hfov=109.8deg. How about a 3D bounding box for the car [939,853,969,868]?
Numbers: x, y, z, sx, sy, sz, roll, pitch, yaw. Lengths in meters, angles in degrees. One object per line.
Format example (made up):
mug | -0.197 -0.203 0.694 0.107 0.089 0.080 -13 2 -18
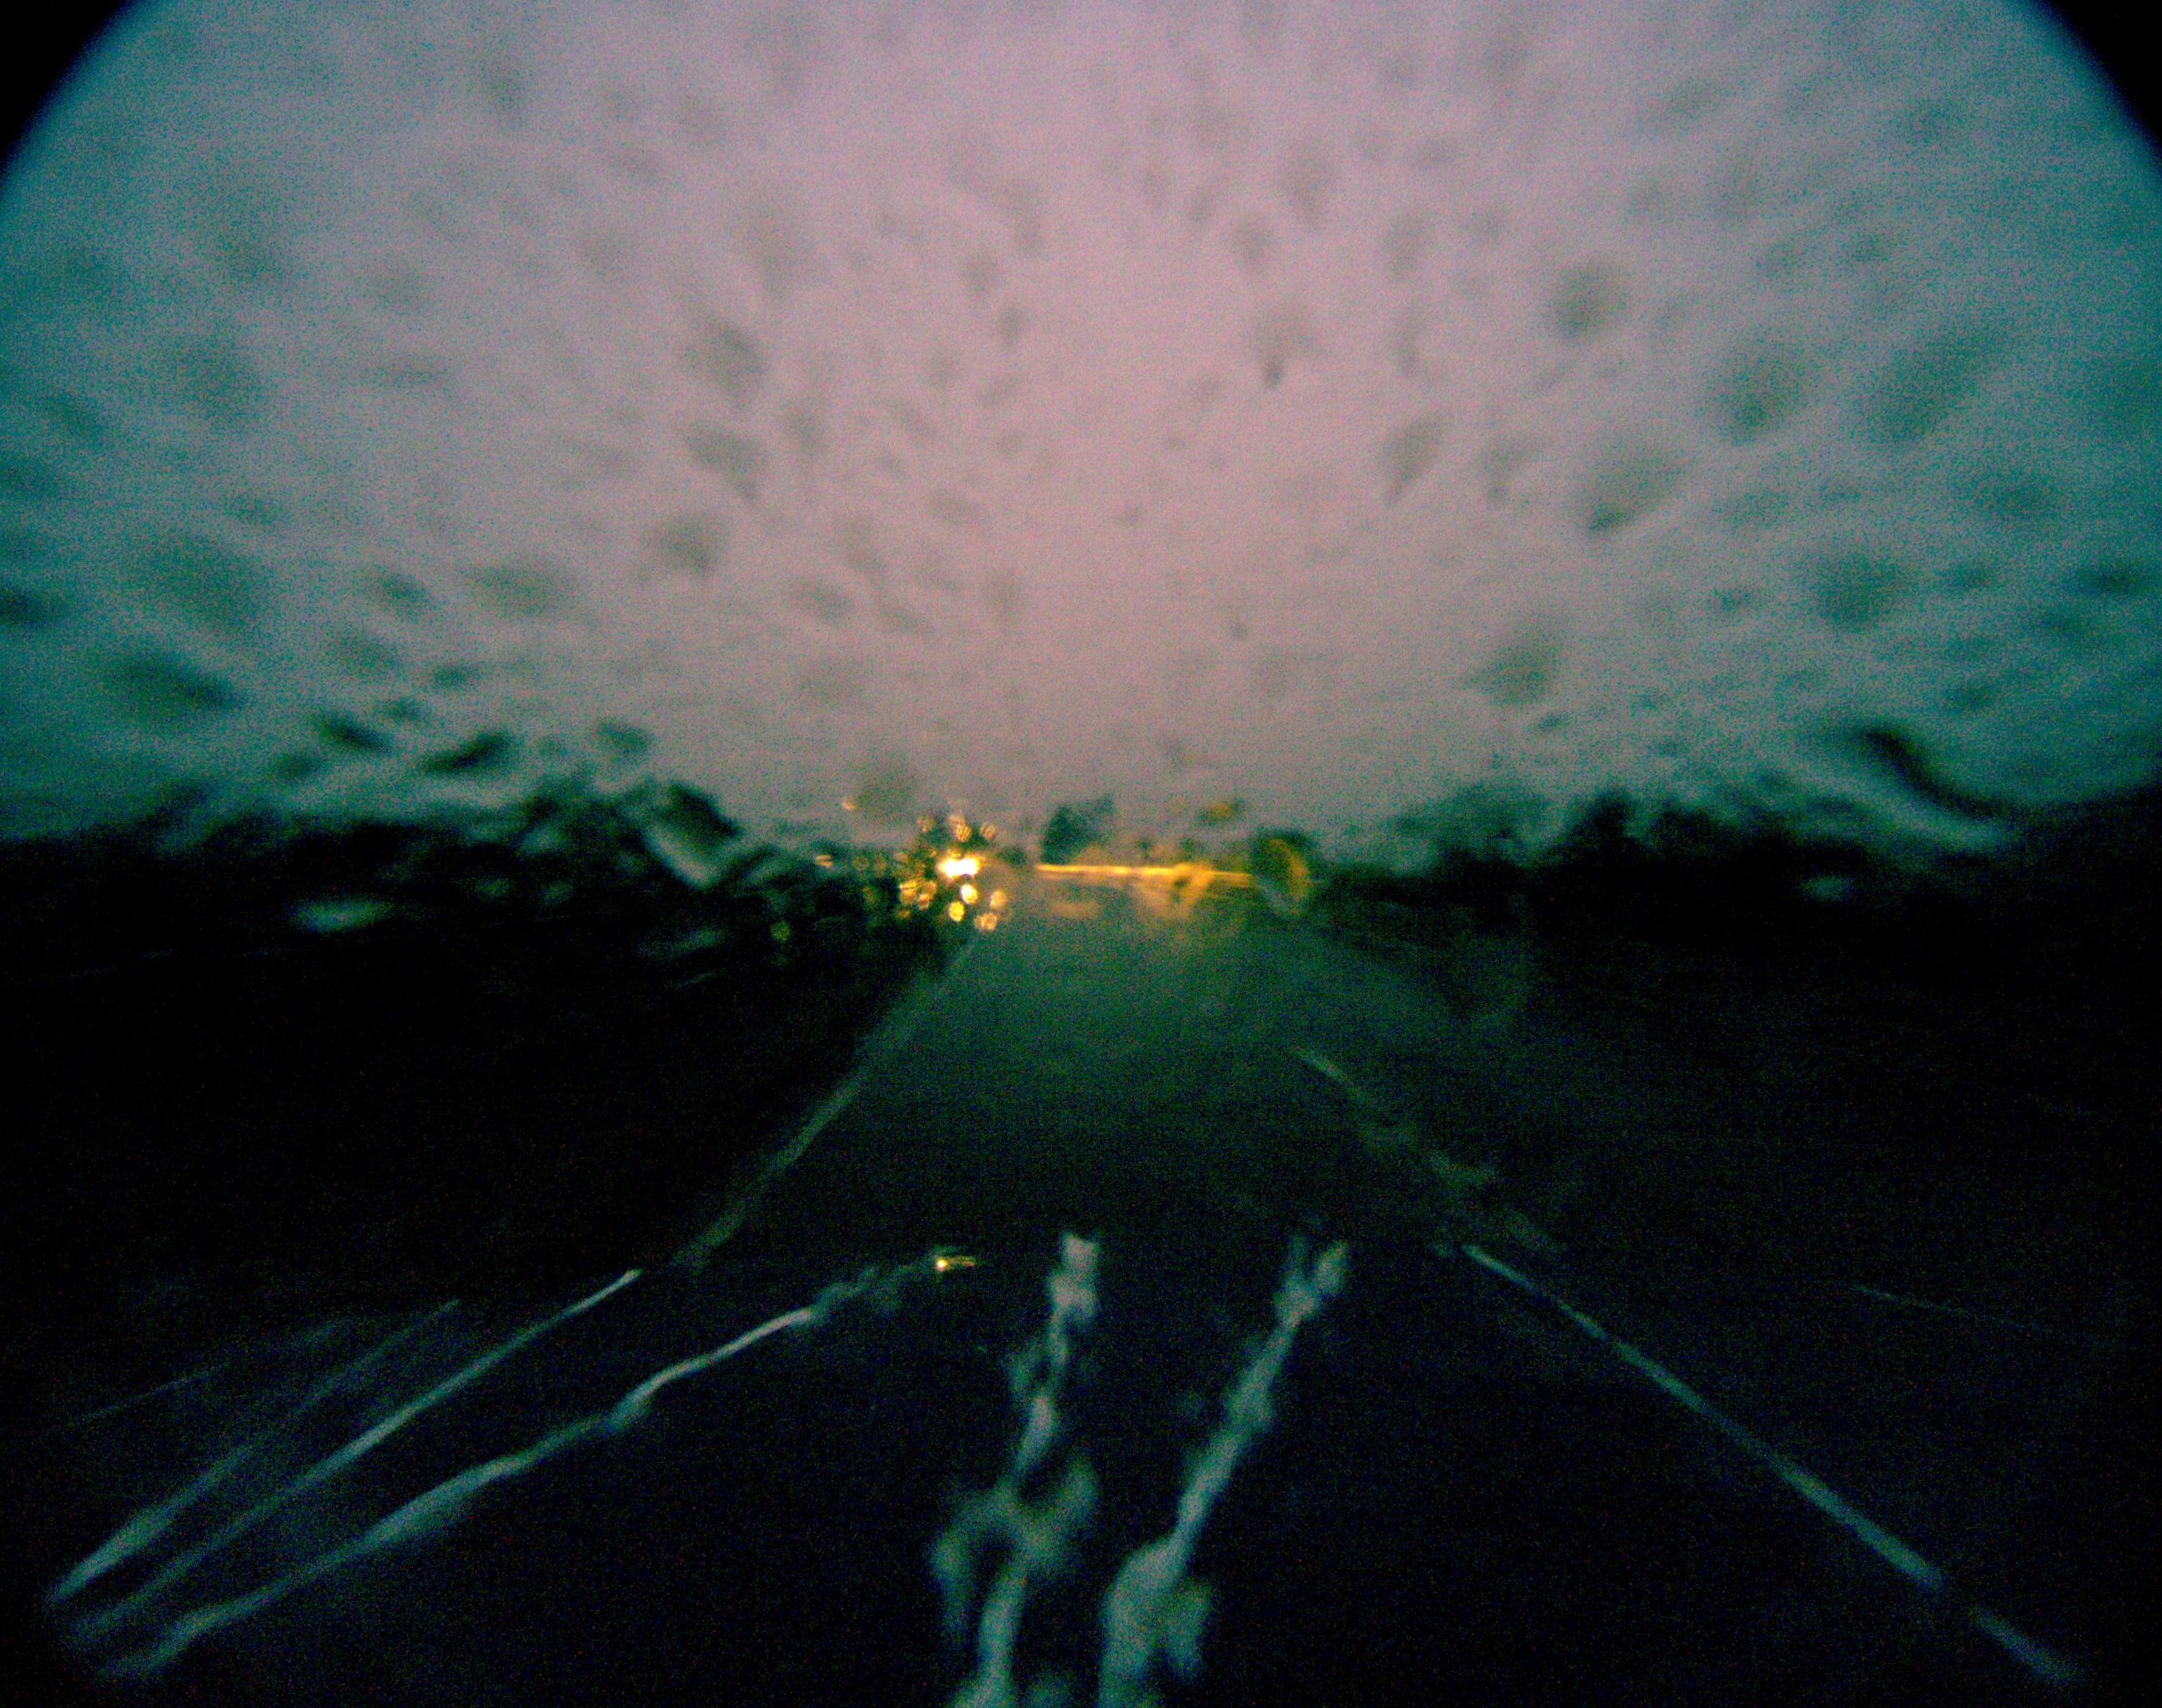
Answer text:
car | -13.471 0.685 80.553 2.106 1.566 4.790 1 0 -23
